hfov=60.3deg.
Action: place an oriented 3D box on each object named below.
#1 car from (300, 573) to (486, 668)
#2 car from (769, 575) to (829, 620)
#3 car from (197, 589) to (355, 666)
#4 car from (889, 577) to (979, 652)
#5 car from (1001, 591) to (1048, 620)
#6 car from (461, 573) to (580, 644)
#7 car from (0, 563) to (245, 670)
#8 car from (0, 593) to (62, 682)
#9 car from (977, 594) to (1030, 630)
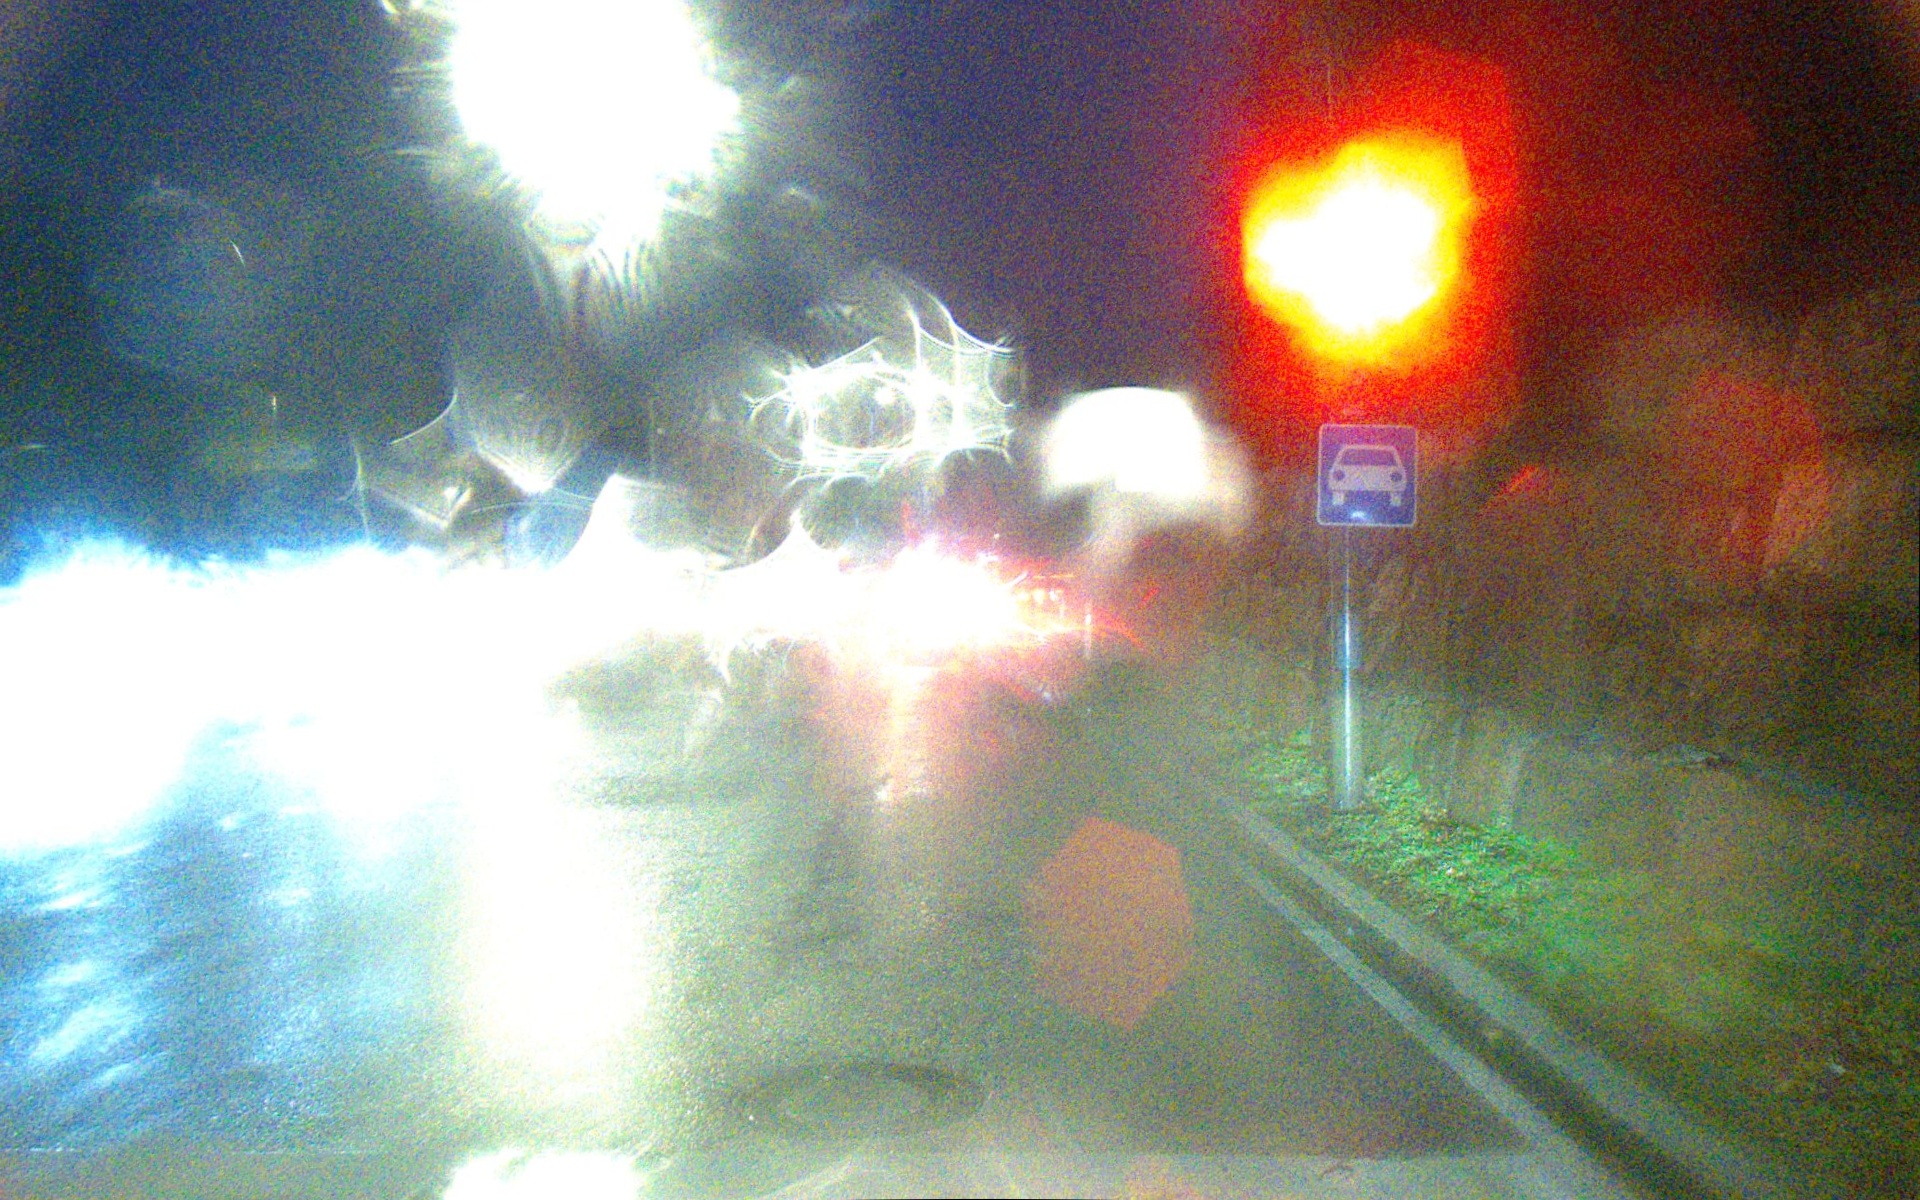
[{"bbox_3d":[-10.241,0.330,30.258,1.663,1.599,4.713,0,0,2],"label":"car"},{"bbox_3d":[-6.431,-0.092,66.542,1.681,1.733,4.145,0,0,5],"label":"car"},{"bbox_3d":[-13.776,0.547,33.520,1.634,1.479,3.728,0,-1,0],"label":"car"},{"bbox_3d":[-0.581,0.339,37.894,1.953,1.639,4.102,0,-1,-1],"label":"car"},{"bbox_3d":[3.095,0.300,80.176,2.064,1.363,4.293,0,-1,-1],"label":"car"},{"bbox_3d":[-9.918,0.204,37.583,1.552,1.552,3.653,0,-1,3],"label":"car"},{"bbox_3d":[-13.658,0.238,27.119,1.755,1.599,4.913,0,0,-1],"label":"car"},{"bbox_3d":[-21.535,0.813,35.312,3.958,1.863,1.699,-1,1,-38],"label":"car"},{"bbox_3d":[1.773,0.511,68.708,2.060,1.464,3.999,0,-1,-1],"label":"car"}]
